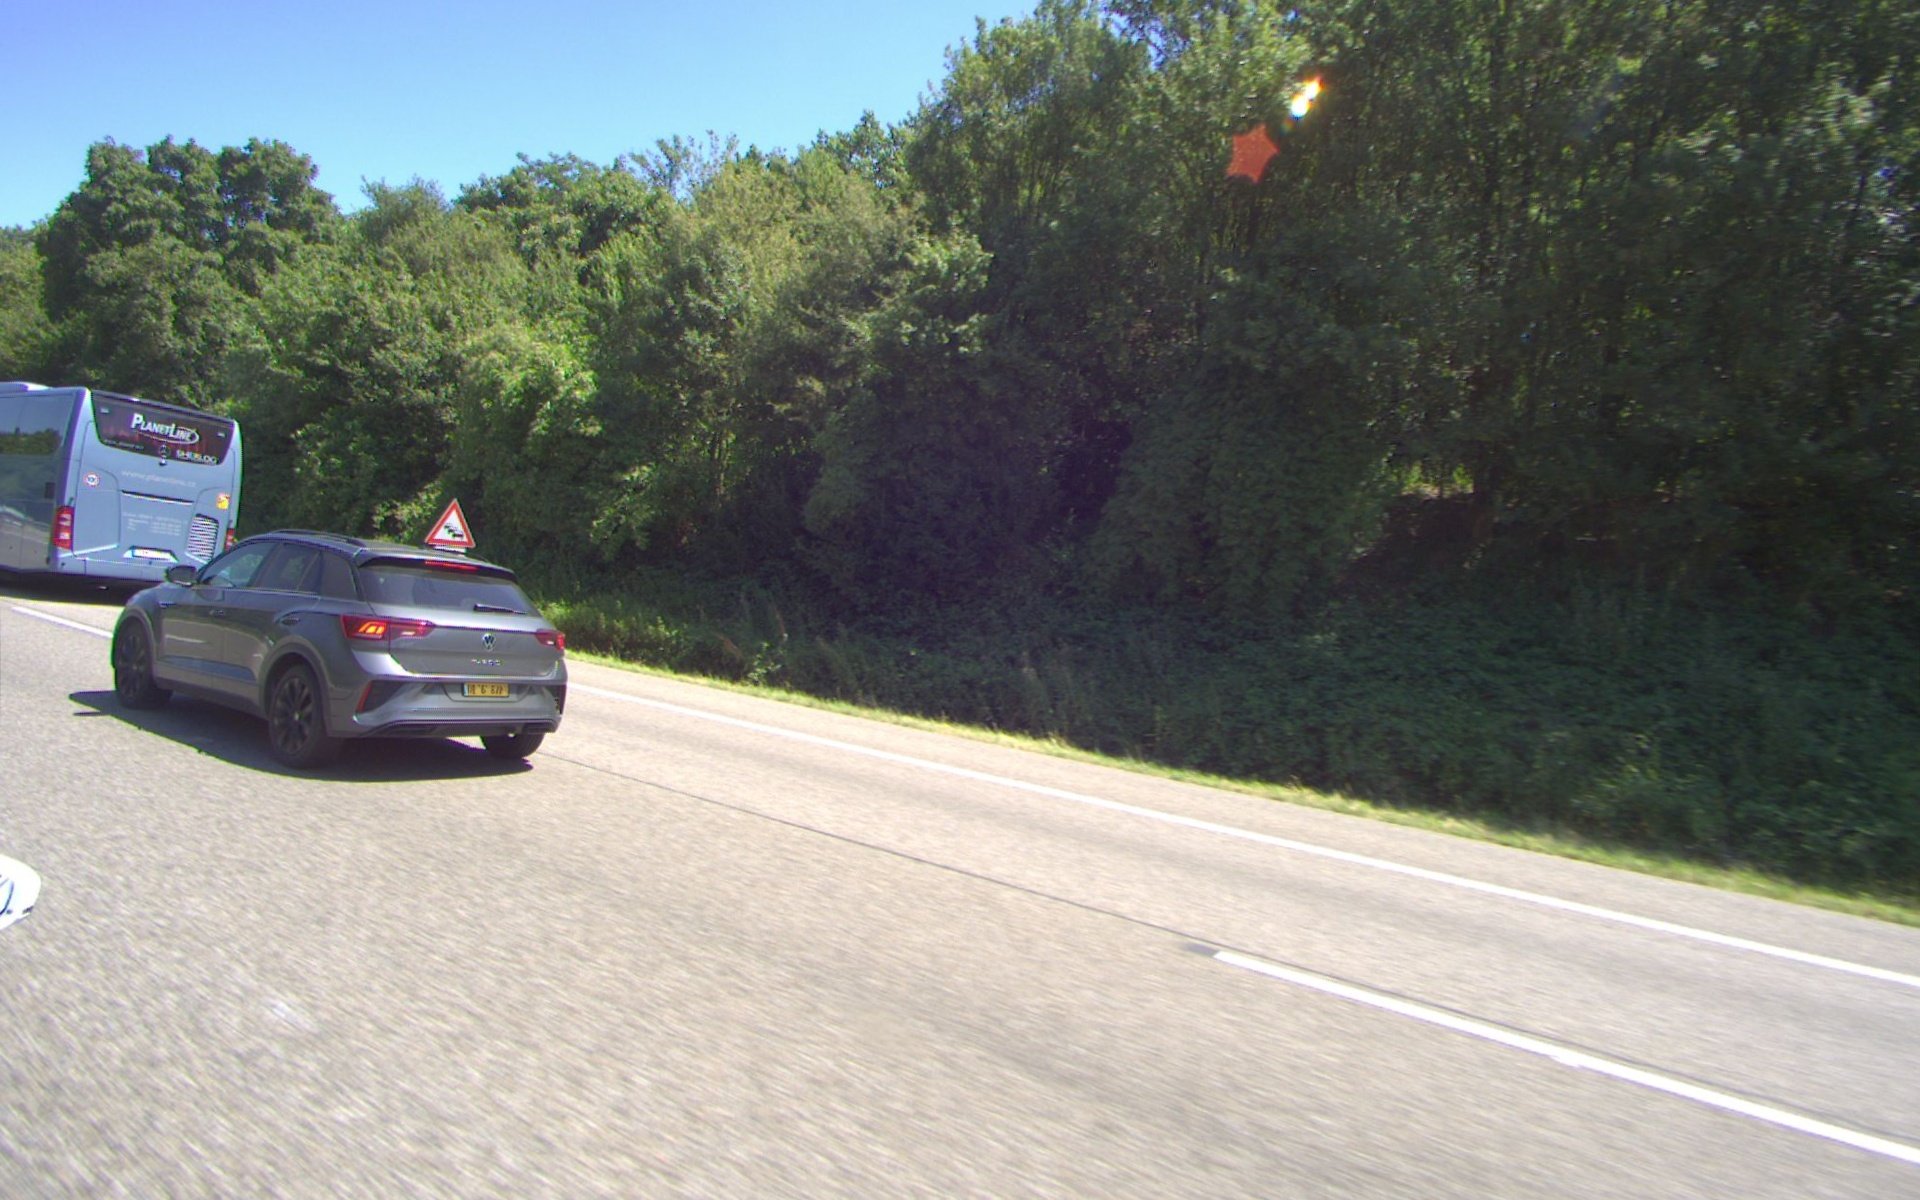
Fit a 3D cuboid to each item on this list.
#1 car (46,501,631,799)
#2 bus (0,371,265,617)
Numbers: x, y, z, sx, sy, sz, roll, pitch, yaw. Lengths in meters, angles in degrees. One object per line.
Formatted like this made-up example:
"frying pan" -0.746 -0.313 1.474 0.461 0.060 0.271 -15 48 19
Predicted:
"car" -5.059 0.267 8.014 4.680 1.550 1.903 7 -1 31
"bus" -18.584 -2.208 20.104 12.268 3.639 2.807 6 -1 32
